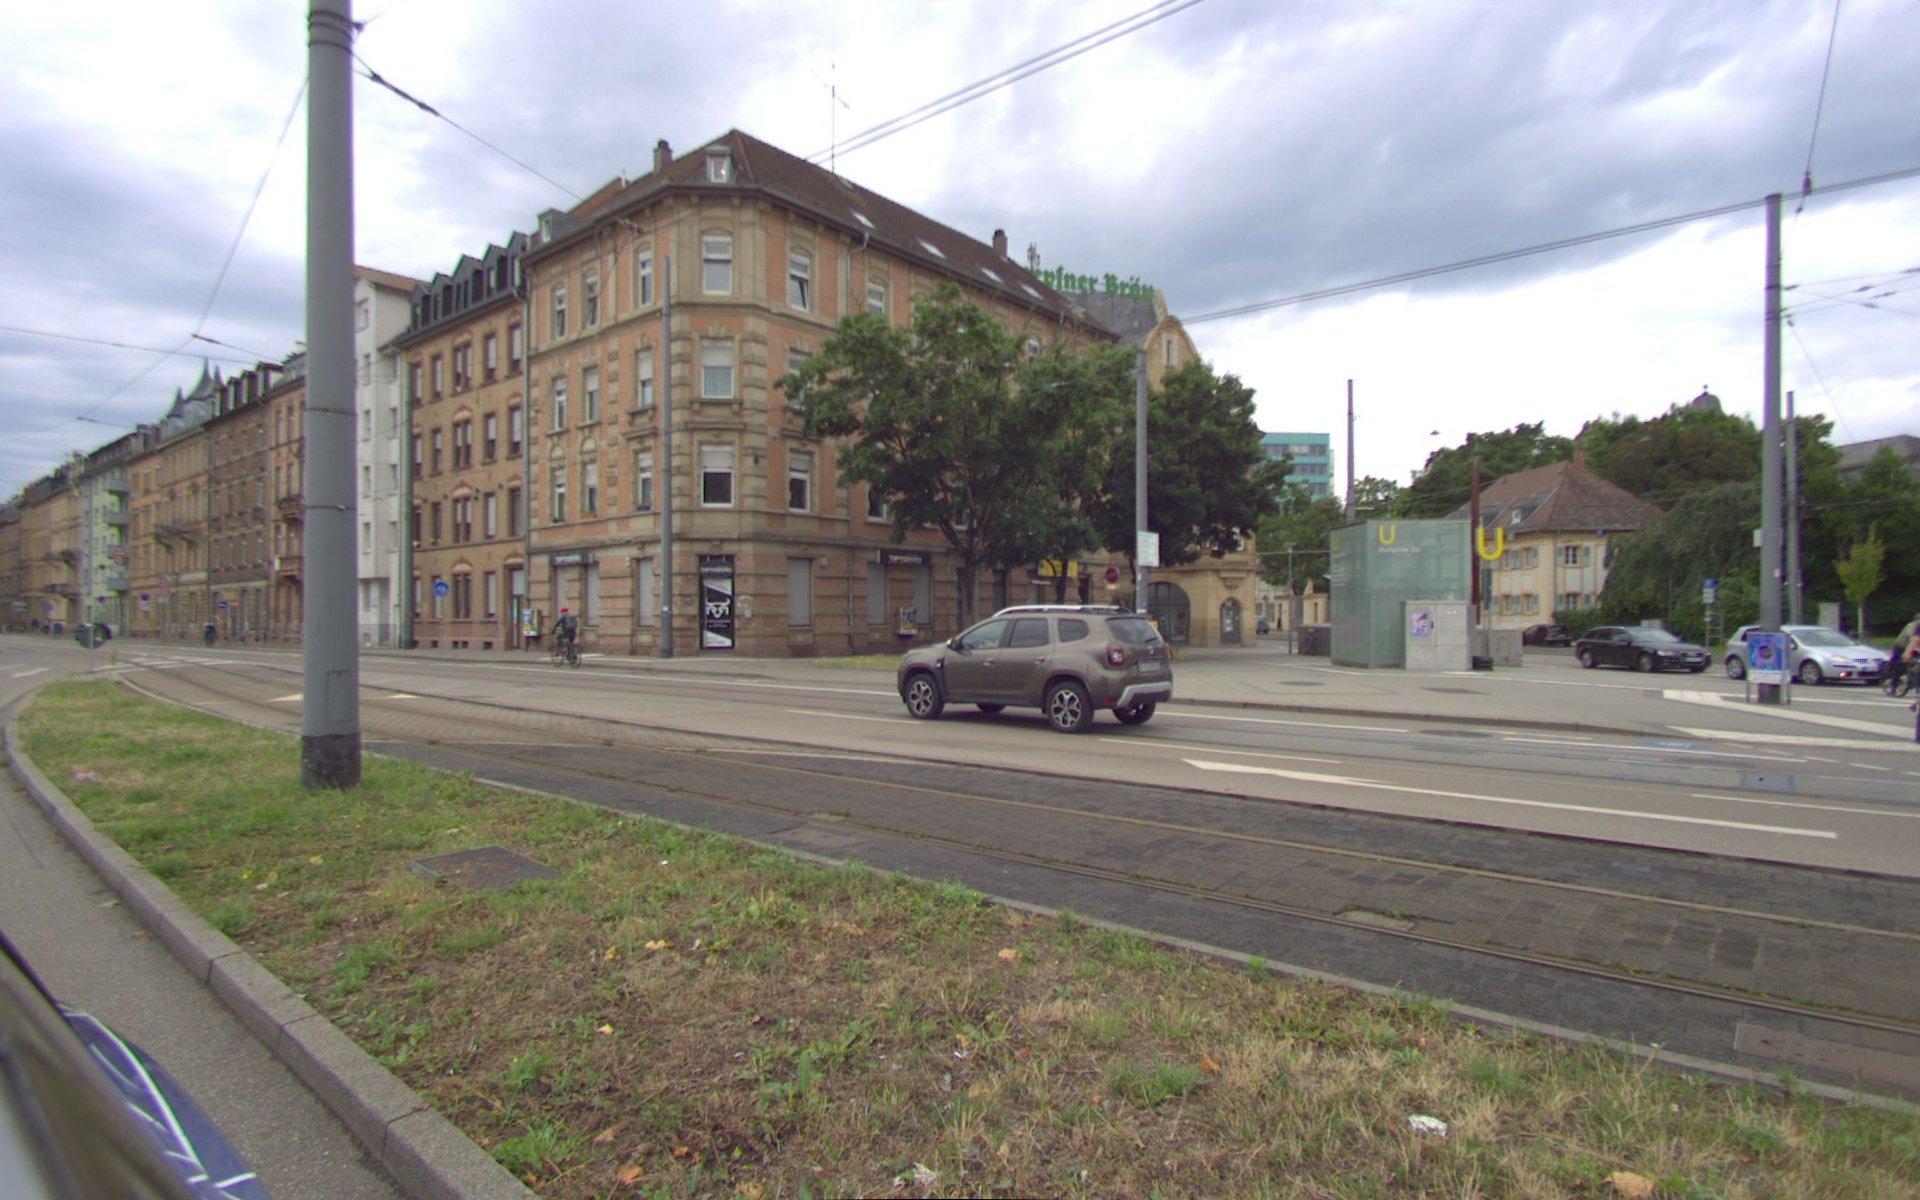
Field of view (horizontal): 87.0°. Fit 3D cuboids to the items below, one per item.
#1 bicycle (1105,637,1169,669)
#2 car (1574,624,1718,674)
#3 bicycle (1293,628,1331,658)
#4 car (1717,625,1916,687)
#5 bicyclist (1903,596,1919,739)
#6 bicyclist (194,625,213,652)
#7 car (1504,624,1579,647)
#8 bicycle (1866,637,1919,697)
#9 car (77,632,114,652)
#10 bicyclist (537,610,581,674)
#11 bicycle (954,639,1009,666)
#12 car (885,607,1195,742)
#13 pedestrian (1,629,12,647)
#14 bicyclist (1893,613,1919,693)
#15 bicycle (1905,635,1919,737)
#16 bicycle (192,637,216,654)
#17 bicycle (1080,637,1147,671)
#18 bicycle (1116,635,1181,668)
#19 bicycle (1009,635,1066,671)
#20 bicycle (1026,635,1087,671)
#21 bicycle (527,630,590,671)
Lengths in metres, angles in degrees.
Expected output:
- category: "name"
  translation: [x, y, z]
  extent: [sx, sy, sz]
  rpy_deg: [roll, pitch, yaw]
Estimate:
- category: "bicycle"
  translation: [5.762, 1.728, 33.163]
  extent: [0.576, 0.994, 2.224]
  rpy_deg: [0, -1, -39]
- category: "car"
  translation: [21.801, 1.518, 32.383]
  extent: [1.673, 1.460, 4.144]
  rpy_deg: [-1, -1, -1]
- category: "bicycle"
  translation: [13.937, 1.700, 40.130]
  extent: [0.730, 1.123, 2.361]
  rpy_deg: [-1, -1, 3]
- category: "car"
  translation: [21.902, 1.382, 26.138]
  extent: [1.739, 1.465, 4.156]
  rpy_deg: [-1, -1, 4]
- category: "bicyclist"
  translation: [12.784, 0.854, 13.055]
  extent: [0.816, 1.812, 1.015]
  rpy_deg: [-3, -3, 43]
- category: "bicyclist"
  translation: [-42.461, 2.164, 56.812]
  extent: [0.941, 1.506, 0.655]
  rpy_deg: [-1, -1, 37]
- category: "car"
  translation: [35.618, 2.148, 62.091]
  extent: [1.904, 1.298, 4.006]
  rpy_deg: [0, -1, -7]
- category: "bicycle"
  translation: [19.963, 1.379, 20.717]
  extent: [0.845, 1.217, 2.197]
  rpy_deg: [0, -1, 1]
- category: "car"
  translation: [-68.715, 3.318, 80.455]
  extent: [3.828, 1.491, 1.828]
  rpy_deg: [-1, -2, 43]
- category: "bicyclist"
  translation: [-12.259, 1.287, 30.914]
  extent: [1.048, 1.906, 0.821]
  rpy_deg: [-2, -3, 39]
- category: "bicycle"
  translation: [0.815, 1.969, 38.005]
  extent: [1.982, 0.921, 0.655]
  rpy_deg: [-4, -5, 31]
- category: "car"
  translation: [1.034, 0.954, 14.546]
  extent: [4.228, 1.652, 1.779]
  rpy_deg: [-1, -1, 42]
- category: "pedestrian"
  translation: [-104.872, 4.170, 111.292]
  extent: [0.733, 2.029, 0.804]
  rpy_deg: [-1, -2, 41]
- category: "bicyclist"
  translation: [19.968, 1.081, 20.718]
  extent: [0.843, 1.635, 0.917]
  rpy_deg: [0, -2, 1]
- category: "bicycle"
  translation: [12.734, 1.084, 12.996]
  extent: [0.816, 1.252, 1.971]
  rpy_deg: [-3, -4, 43]
- category: "bicycle"
  translation: [-42.396, 2.554, 56.747]
  extent: [1.716, 0.922, 0.600]
  rpy_deg: [-1, -1, 37]
- category: "bicycle"
  translation: [4.805, 1.689, 31.841]
  extent: [0.601, 0.994, 2.224]
  rpy_deg: [0, -1, -39]
- category: "bicycle"
  translation: [6.363, 1.727, 34.287]
  extent: [0.678, 1.047, 2.224]
  rpy_deg: [0, -1, -39]
- category: "bicycle"
  translation: [2.252, 1.542, 29.759]
  extent: [0.492, 0.994, 1.872]
  rpy_deg: [1, -2, -41]
- category: "bicycle"
  translation: [2.867, 1.560, 30.186]
  extent: [0.513, 0.994, 2.041]
  rpy_deg: [0, -1, -39]
- category: "bicycle"
  translation: [-12.287, 1.530, 30.921]
  extent: [2.232, 1.217, 0.816]
  rpy_deg: [-2, -3, 40]
